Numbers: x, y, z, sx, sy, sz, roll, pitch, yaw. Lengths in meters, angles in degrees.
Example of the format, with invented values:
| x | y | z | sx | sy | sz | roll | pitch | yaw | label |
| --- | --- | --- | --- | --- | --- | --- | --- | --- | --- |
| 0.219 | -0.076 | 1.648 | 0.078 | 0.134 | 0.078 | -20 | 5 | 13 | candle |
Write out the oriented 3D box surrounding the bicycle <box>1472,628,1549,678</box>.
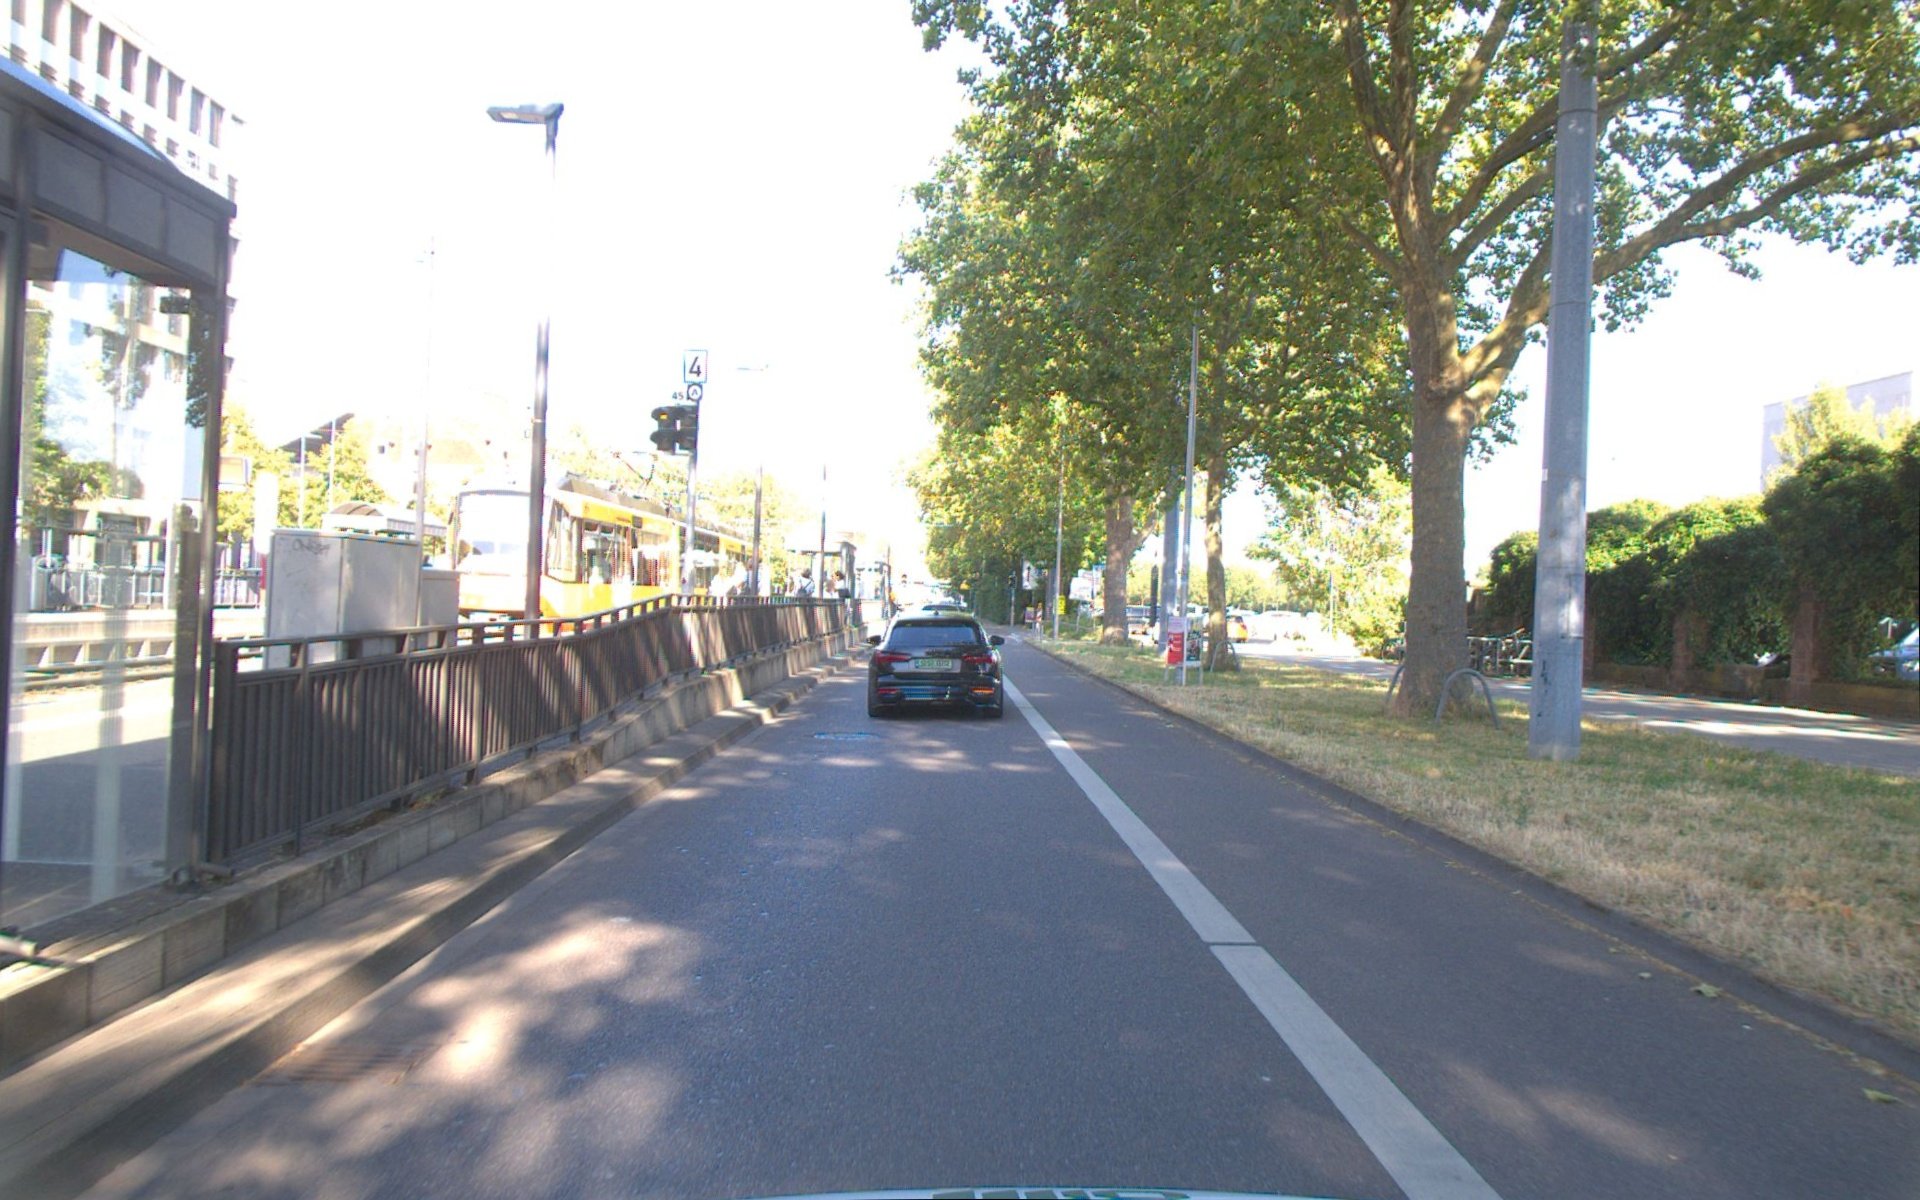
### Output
| x | y | z | sx | sy | sz | roll | pitch | yaw | label |
| --- | --- | --- | --- | --- | --- | --- | --- | --- | --- |
| 12.791 | 1.229 | 38.451 | 1.653 | 1.140 | 0.439 | 1 | 0 | -2 | bicycle |

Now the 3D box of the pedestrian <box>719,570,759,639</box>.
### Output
| x | y | z | sx | sy | sz | roll | pitch | yaw | label |
| --- | --- | --- | --- | --- | --- | --- | --- | --- | --- |
| -5.958 | 0.118 | 44.571 | 0.788 | 1.815 | 0.639 | 3 | -1 | -41 | pedestrian |

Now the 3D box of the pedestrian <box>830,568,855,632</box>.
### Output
| x | y | z | sx | sy | sz | roll | pitch | yaw | label |
| --- | --- | --- | --- | --- | --- | --- | --- | --- | --- |
| -3.391 | 0.005 | 47.829 | 0.599 | 1.815 | 0.613 | 2 | 0 | -1 | pedestrian |

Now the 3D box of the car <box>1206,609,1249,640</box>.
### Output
| x | y | z | sx | sy | sz | roll | pitch | yaw | label |
| --- | --- | --- | --- | --- | --- | --- | --- | --- | --- |
| 14.169 | 1.265 | 87.754 | 1.581 | 1.542 | 3.802 | 2 | 0 | 0 | car |

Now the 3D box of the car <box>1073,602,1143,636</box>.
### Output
| x | y | z | sx | sy | sz | roll | pitch | yaw | label |
| --- | --- | --- | --- | --- | --- | --- | --- | --- | --- |
| 8.660 | 1.087 | 96.826 | 3.905 | 1.795 | 1.833 | 2 | -1 | 0 | car |

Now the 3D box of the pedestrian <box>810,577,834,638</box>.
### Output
| x | y | z | sx | sy | sz | roll | pitch | yaw | label |
| --- | --- | --- | --- | --- | --- | --- | --- | --- | --- |
| -4.187 | 0.237 | 50.170 | 0.597 | 1.815 | 0.681 | 2 | 0 | -1 | pedestrian |

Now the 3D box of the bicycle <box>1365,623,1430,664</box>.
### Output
| x | y | z | sx | sy | sz | roll | pitch | yaw | label |
| --- | --- | --- | --- | --- | --- | --- | --- | --- | --- |
| 12.426 | 1.228 | 46.976 | 1.740 | 1.140 | 0.438 | 1 | 0 | -8 | bicycle |

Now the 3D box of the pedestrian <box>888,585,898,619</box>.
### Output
| x | y | z | sx | sy | sz | roll | pitch | yaw | label |
| --- | --- | --- | --- | --- | --- | --- | --- | --- | --- |
| -3.438 | 0.110 | 84.746 | 0.403 | 1.746 | 0.665 | 2 | 0 | -1 | pedestrian |

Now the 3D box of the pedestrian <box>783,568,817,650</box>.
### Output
| x | y | z | sx | sy | sz | roll | pitch | yaw | label |
| --- | --- | --- | --- | --- | --- | --- | --- | --- | --- |
| -3.416 | 0.189 | 35.359 | 0.599 | 1.698 | 0.613 | 2 | 0 | 1 | pedestrian |

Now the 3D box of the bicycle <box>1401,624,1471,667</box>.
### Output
| x | y | z | sx | sy | sz | roll | pitch | yaw | label |
| --- | --- | --- | --- | --- | --- | --- | --- | --- | --- |
| 12.872 | 1.232 | 44.734 | 1.737 | 1.140 | 0.439 | 1 | 0 | -2 | bicycle |

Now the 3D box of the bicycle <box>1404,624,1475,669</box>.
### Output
| x | y | z | sx | sy | sz | roll | pitch | yaw | label |
| --- | --- | --- | --- | --- | --- | --- | --- | --- | --- |
| 12.663 | 1.232 | 43.685 | 1.737 | 1.140 | 0.439 | 1 | 0 | -2 | bicycle |

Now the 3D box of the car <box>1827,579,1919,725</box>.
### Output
| x | y | z | sx | sy | sz | roll | pitch | yaw | label |
| --- | --- | --- | --- | --- | --- | --- | --- | --- | --- |
| 19.099 | 1.056 | 30.261 | 5.351 | 2.533 | 1.999 | 3 | 0 | -1 | car |

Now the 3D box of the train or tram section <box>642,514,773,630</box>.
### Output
| x | y | z | sx | sy | sz | roll | pitch | yaw | label |
| --- | --- | --- | --- | --- | --- | --- | --- | --- | --- |
| -9.494 | -0.964 | 63.647 | 3.242 | 3.896 | 11.841 | 2 | 0 | -1 | train or tram section |

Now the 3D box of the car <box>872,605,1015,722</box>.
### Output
| x | y | z | sx | sy | sz | roll | pitch | yaw | label |
| --- | --- | --- | --- | --- | --- | --- | --- | --- | --- |
| -0.300 | 0.831 | 23.253 | 1.841 | 1.482 | 3.355 | 1 | 0 | -3 | car |

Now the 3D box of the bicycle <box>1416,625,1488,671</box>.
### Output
| x | y | z | sx | sy | sz | roll | pitch | yaw | label |
| --- | --- | --- | --- | --- | --- | --- | --- | --- | --- |
| 12.666 | 1.237 | 42.598 | 1.737 | 1.140 | 0.439 | 1 | 0 | -2 | bicycle |

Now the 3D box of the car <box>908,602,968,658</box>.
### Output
| x | y | z | sx | sy | sz | roll | pitch | yaw | label |
| --- | --- | --- | --- | --- | --- | --- | --- | --- | --- |
| -0.744 | 0.935 | 52.984 | 1.727 | 1.647 | 3.998 | 2 | 0 | -3 | car |

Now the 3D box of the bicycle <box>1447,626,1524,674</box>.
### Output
| x | y | z | sx | sy | sz | roll | pitch | yaw | label |
| --- | --- | --- | --- | --- | --- | --- | --- | --- | --- |
| 12.850 | 1.225 | 40.468 | 1.737 | 1.140 | 0.439 | 1 | 0 | -2 | bicycle |

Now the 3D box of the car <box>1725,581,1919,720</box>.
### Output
| x | y | z | sx | sy | sz | roll | pitch | yaw | label |
| --- | --- | --- | --- | --- | --- | --- | --- | --- | --- |
| 18.464 | 1.047 | 33.068 | 5.351 | 2.533 | 1.999 | 3 | 0 | -1 | car |

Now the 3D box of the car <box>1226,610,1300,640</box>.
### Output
| x | y | z | sx | sy | sz | roll | pitch | yaw | label |
| --- | --- | --- | --- | --- | --- | --- | --- | --- | --- |
| 19.179 | 1.551 | 104.959 | 4.365 | 1.687 | 1.918 | 2 | 0 | 3 | car |

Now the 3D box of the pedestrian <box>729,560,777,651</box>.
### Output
| x | y | z | sx | sy | sz | roll | pitch | yaw | label |
| --- | --- | --- | --- | --- | --- | --- | --- | --- | --- |
| -3.700 | 0.102 | 29.601 | 0.601 | 1.576 | 0.725 | 2 | 0 | 9 | pedestrian |

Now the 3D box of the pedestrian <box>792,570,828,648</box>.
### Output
| x | y | z | sx | sy | sz | roll | pitch | yaw | label |
| --- | --- | --- | --- | --- | --- | --- | --- | --- | --- |
| -3.278 | 0.194 | 36.127 | 0.602 | 1.671 | 0.610 | 2 | 0 | -20 | pedestrian |

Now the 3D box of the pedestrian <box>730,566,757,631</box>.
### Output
| x | y | z | sx | sy | sz | roll | pitch | yaw | label |
| --- | --- | --- | --- | --- | --- | --- | --- | --- | --- |
| -6.157 | -0.041 | 47.100 | 0.599 | 1.815 | 0.775 | 2 | 0 | -1 | pedestrian |

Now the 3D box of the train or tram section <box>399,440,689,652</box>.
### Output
| x | y | z | sx | sy | sz | roll | pitch | yaw | label |
| --- | --- | --- | --- | --- | --- | --- | --- | --- | --- |
| -9.095 | -1.021 | 38.661 | 3.242 | 3.896 | 14.216 | 2 | 0 | -1 | train or tram section |

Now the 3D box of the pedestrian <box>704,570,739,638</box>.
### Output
| x | y | z | sx | sy | sz | roll | pitch | yaw | label |
| --- | --- | --- | --- | --- | --- | --- | --- | --- | --- |
| -6.532 | 0.113 | 45.320 | 0.777 | 1.815 | 0.625 | 2 | 0 | -1 | pedestrian |

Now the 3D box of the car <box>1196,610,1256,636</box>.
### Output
| x | y | z | sx | sy | sz | roll | pitch | yaw | label |
| --- | --- | --- | --- | --- | --- | --- | --- | --- | --- |
| 20.871 | 1.791 | 129.985 | 4.267 | 1.847 | 1.998 | 2 | 0 | -5 | car |

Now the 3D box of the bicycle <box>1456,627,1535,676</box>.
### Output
| x | y | z | sx | sy | sz | roll | pitch | yaw | label |
| --- | --- | --- | --- | --- | --- | --- | --- | --- | --- |
| 12.781 | 1.231 | 39.517 | 1.737 | 1.140 | 0.439 | 1 | 0 | -2 | bicycle |

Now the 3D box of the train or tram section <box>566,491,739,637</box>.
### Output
| x | y | z | sx | sy | sz | roll | pitch | yaw | label |
| --- | --- | --- | --- | --- | --- | --- | --- | --- | --- |
| -9.311 | -0.988 | 51.776 | 3.242 | 3.896 | 11.841 | 2 | 0 | -1 | train or tram section |
